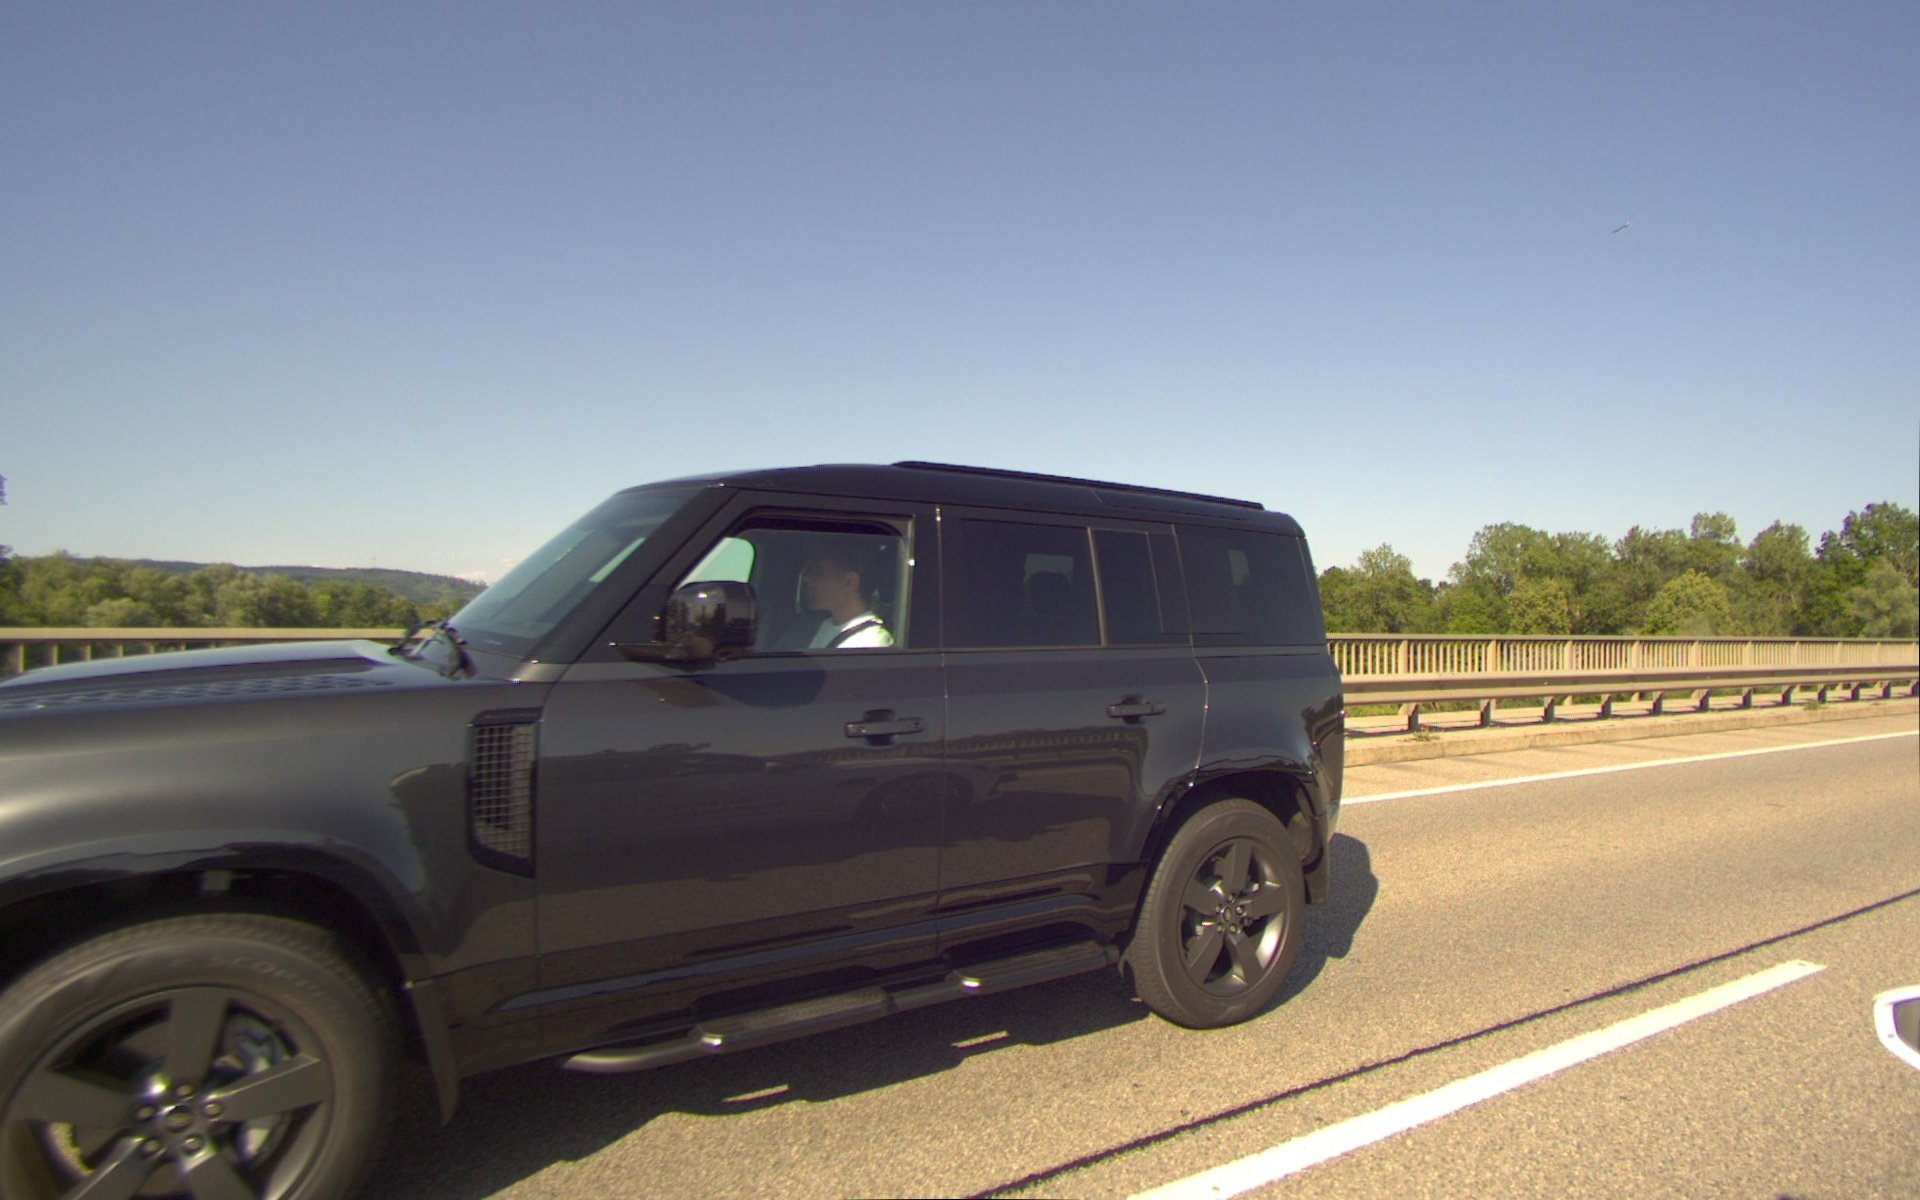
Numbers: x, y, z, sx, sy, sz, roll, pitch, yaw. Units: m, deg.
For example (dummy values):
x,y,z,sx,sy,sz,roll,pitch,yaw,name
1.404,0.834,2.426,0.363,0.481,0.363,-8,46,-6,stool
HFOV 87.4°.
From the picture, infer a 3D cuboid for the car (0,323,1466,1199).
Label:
x,y,z,sx,sy,sz,roll,pitch,yaw,name
-0.620,0.484,3.634,5.012,1.899,2.027,1,0,-31,car
